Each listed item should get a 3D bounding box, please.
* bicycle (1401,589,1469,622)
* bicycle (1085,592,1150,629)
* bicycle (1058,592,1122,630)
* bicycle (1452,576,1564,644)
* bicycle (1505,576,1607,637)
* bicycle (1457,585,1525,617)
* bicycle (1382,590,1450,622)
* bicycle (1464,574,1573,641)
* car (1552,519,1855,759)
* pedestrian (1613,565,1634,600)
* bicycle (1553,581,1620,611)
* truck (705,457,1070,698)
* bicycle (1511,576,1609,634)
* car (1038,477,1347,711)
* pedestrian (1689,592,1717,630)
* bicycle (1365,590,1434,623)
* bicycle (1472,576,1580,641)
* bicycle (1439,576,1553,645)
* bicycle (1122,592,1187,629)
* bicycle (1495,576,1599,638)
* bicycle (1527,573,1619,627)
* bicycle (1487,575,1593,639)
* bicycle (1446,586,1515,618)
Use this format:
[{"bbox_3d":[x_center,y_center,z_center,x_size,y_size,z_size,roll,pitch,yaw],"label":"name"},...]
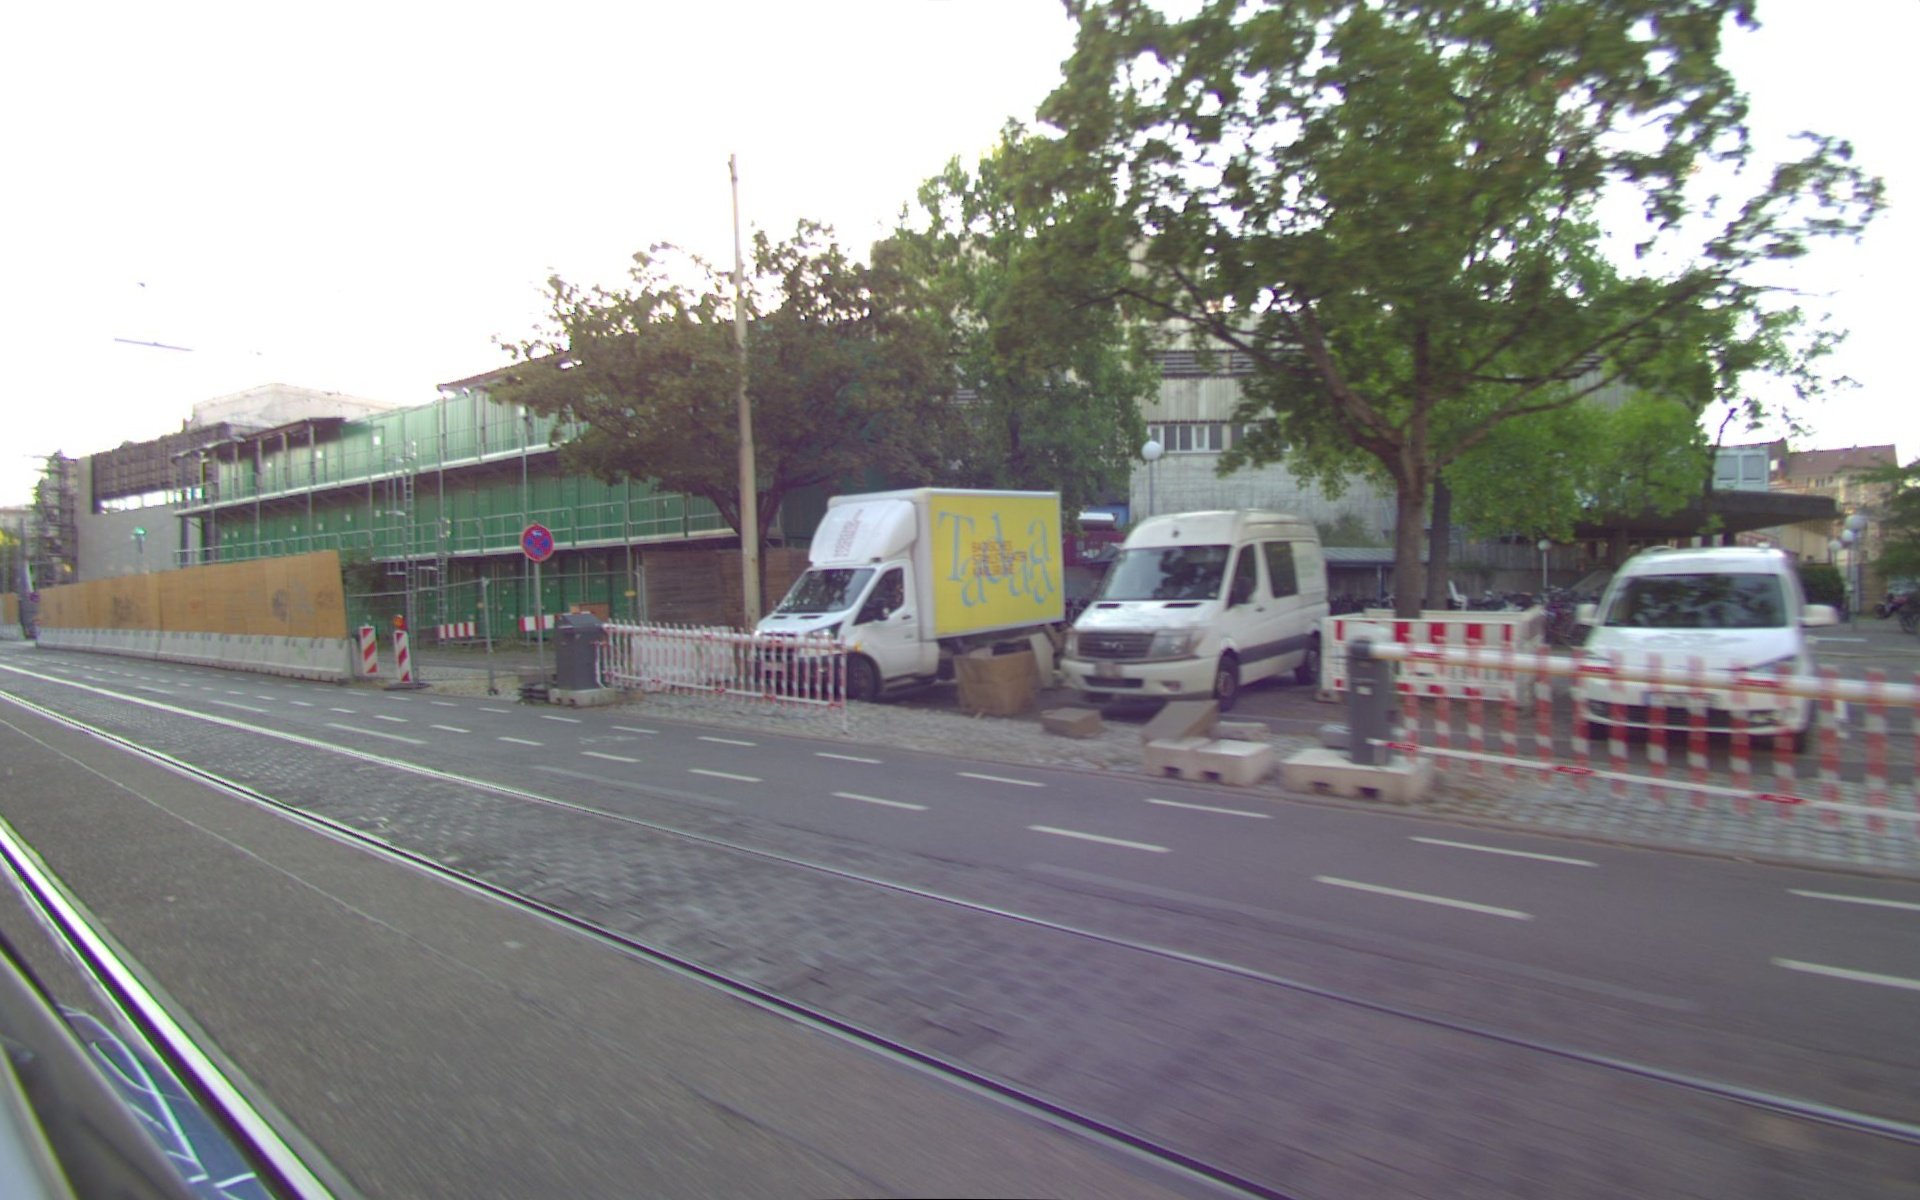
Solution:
[{"bbox_3d":[18.295,0.221,39.047,0.798,1.191,2.271,-1,0,-32],"label":"bicycle"},{"bbox_3d":[5.223,0.361,33.712,0.798,1.191,2.271,-1,0,-32],"label":"bicycle"},{"bbox_3d":[4.255,0.370,33.407,0.798,1.191,2.271,-1,0,-32],"label":"bicycle"},{"bbox_3d":[11.556,0.207,21.397,0.535,1.379,1.978,-1,0,-45],"label":"bicycle"},{"bbox_3d":[13.970,0.153,23.756,0.535,1.379,1.978,-1,0,-45],"label":"bicycle"},{"bbox_3d":[21.236,0.053,40.513,0.798,1.191,2.271,-1,0,-32],"label":"bicycle"},{"bbox_3d":[17.389,0.241,38.620,0.798,1.191,2.271,-1,0,-32],"label":"bicycle"},{"bbox_3d":[12.078,0.168,21.950,0.535,1.379,1.978,-1,0,-45],"label":"bicycle"},{"bbox_3d":[7.826,0.291,10.431,2.015,1.888,4.781,-2,0,42],"label":"car"},{"bbox_3d":[27.042,-0.711,41.247,0.630,1.434,0.753,-2,0,37],"label":"pedestrian"},{"bbox_3d":[26.457,-0.158,42.763,0.798,1.191,2.271,-1,0,-32],"label":"bicycle"},{"bbox_3d":[-0.934,-0.335,18.117,2.561,3.454,6.995,-2,0,36],"label":"truck"},{"bbox_3d":[14.758,0.135,24.934,0.535,1.379,1.978,-1,0,-45],"label":"bicycle"},{"bbox_3d":[3.446,-0.075,14.067,2.226,2.617,5.170,-2,0,37],"label":"car"},{"bbox_3d":[21.133,0.308,28.782,0.630,1.079,0.753,-2,0,37],"label":"pedestrian"},{"bbox_3d":[16.534,0.259,38.122,0.798,1.191,2.271,-1,0,-32],"label":"bicycle"},{"bbox_3d":[12.498,0.186,22.392,0.535,1.379,1.978,-1,0,-45],"label":"bicycle"},{"bbox_3d":[11.047,0.219,20.914,0.535,1.379,1.978,-1,0,-45],"label":"bicycle"},{"bbox_3d":[6.601,0.366,34.445,0.798,1.191,2.271,-1,0,-32],"label":"bicycle"},{"bbox_3d":[13.461,0.165,23.261,0.535,1.379,1.978,-1,0,-45],"label":"bicycle"},{"bbox_3d":[16.134,0.018,26.675,0.535,1.379,1.978,-1,0,-45],"label":"bicycle"},{"bbox_3d":[13.043,0.168,22.807,0.535,1.379,1.978,-1,0,-45],"label":"bicycle"},{"bbox_3d":[20.505,0.078,39.918,0.798,1.191,2.271,-1,0,-32],"label":"bicycle"}]
